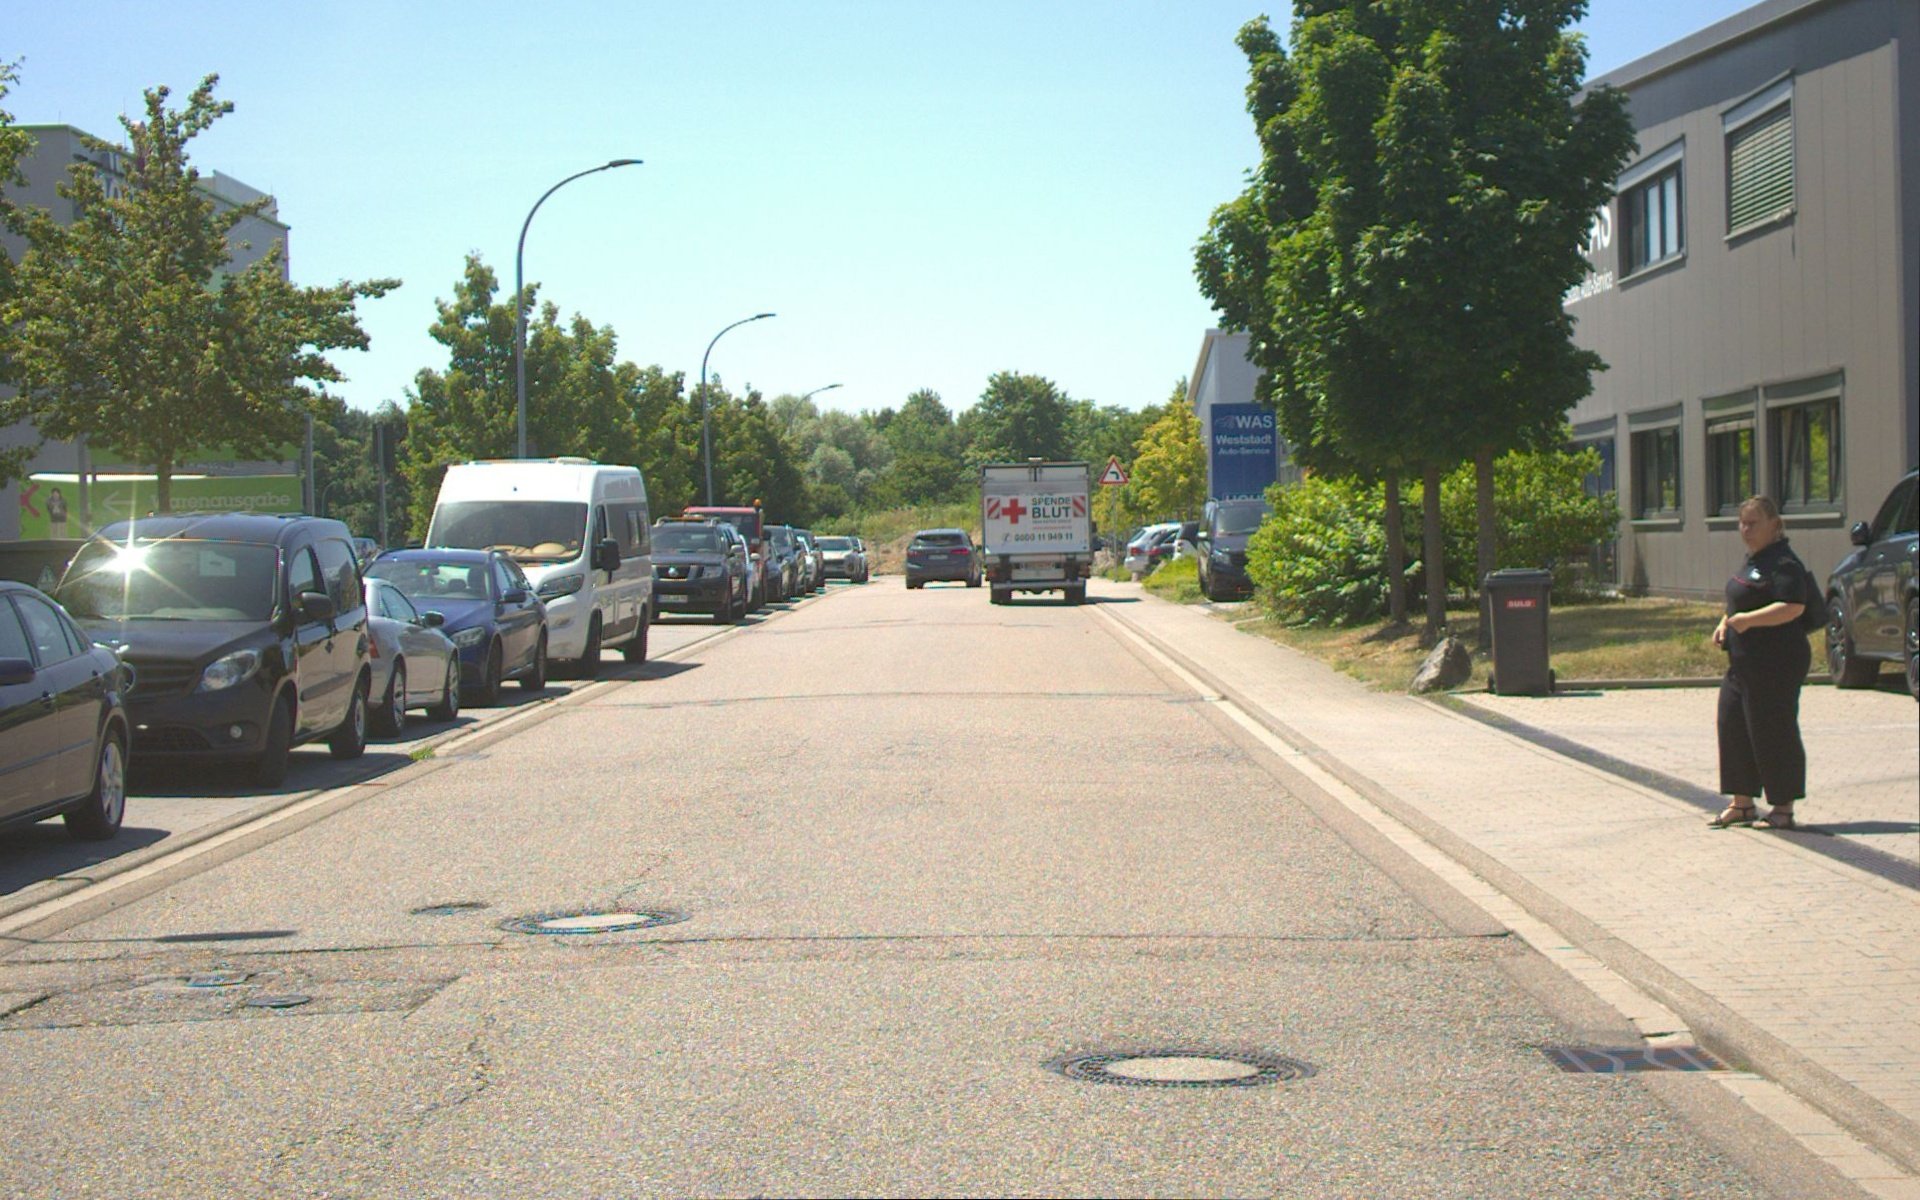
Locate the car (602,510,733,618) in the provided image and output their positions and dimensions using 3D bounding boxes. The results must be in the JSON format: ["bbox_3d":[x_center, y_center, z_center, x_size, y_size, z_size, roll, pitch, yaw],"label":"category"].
[{"bbox_3d":[-5.144,-0.675,60.856,1.799,1.842,4.252,0,1,2],"label":"car"}]

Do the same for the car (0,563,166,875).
[{"bbox_3d":[-5.472,0.557,17.530,1.799,1.471,4.588,0,1,0],"label":"car"}]

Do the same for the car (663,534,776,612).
[{"bbox_3d":[-4.763,-0.565,68.651,1.799,1.482,4.252,0,1,2],"label":"car"}]

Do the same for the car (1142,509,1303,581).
[{"bbox_3d":[6.649,-1.396,87.264,3.875,1.744,1.752,1,1,-2],"label":"car"}]

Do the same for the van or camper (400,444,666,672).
[{"bbox_3d":[-4.962,-0.503,40.929,2.079,2.474,6.130,1,1,3],"label":"van or camper"}]

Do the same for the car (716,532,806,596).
[{"bbox_3d":[-4.820,-0.900,83.679,1.799,1.482,4.252,0,1,2],"label":"car"}]

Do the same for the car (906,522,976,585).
[{"bbox_3d":[-0.488,-1.239,91.666,1.789,1.618,3.809,1,1,0],"label":"car"}]

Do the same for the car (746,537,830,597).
[{"bbox_3d":[-4.457,-0.880,89.489,1.799,1.482,4.252,0,1,2],"label":"car"}]

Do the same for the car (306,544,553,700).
[{"bbox_3d":[-5.176,0.175,34.045,1.799,1.444,4.252,0,1,0],"label":"car"}]

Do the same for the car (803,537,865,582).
[{"bbox_3d":[-4.324,-1.400,118.481,1.799,1.482,4.252,0,1,2],"label":"car"}]

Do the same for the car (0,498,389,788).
[{"bbox_3d":[-5.164,0.236,23.568,1.799,1.808,4.252,0,1,0],"label":"car"}]

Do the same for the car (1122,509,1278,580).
[{"bbox_3d":[6.261,-1.441,89.870,3.875,1.744,1.752,1,1,-2],"label":"car"}]

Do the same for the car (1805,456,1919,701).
[{"bbox_3d":[7.931,-0.189,26.491,1.785,1.777,4.905,-2,0,3],"label":"car"}]

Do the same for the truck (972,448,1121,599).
[{"bbox_3d":[1.785,-1.573,72.238,2.933,2.963,6.419,1,1,1],"label":"truck"}]

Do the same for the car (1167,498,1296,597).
[{"bbox_3d":[5.156,-1.001,65.783,1.993,1.797,4.140,-1,1,-2],"label":"car"}]

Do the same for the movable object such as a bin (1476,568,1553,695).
[{"bbox_3d":[4.692,0.257,29.108,0.531,1.049,0.845,-1,1,2],"label":"movable object such as a bin"}]

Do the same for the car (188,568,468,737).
[{"bbox_3d":[-5.219,0.392,28.800,1.478,1.293,3.899,0,1,2],"label":"car"}]

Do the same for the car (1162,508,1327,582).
[{"bbox_3d":[7.023,-1.359,85.198,3.875,1.744,1.752,1,1,-2],"label":"car"}]

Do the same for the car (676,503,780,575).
[{"bbox_3d":[-4.953,-1.326,73.940,1.799,1.482,4.252,0,1,2],"label":"car"}]

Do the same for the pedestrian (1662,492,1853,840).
[{"bbox_3d":[3.841,0.312,16.588,0.499,1.608,0.714,-5,1,-15],"label":"pedestrian"}]
